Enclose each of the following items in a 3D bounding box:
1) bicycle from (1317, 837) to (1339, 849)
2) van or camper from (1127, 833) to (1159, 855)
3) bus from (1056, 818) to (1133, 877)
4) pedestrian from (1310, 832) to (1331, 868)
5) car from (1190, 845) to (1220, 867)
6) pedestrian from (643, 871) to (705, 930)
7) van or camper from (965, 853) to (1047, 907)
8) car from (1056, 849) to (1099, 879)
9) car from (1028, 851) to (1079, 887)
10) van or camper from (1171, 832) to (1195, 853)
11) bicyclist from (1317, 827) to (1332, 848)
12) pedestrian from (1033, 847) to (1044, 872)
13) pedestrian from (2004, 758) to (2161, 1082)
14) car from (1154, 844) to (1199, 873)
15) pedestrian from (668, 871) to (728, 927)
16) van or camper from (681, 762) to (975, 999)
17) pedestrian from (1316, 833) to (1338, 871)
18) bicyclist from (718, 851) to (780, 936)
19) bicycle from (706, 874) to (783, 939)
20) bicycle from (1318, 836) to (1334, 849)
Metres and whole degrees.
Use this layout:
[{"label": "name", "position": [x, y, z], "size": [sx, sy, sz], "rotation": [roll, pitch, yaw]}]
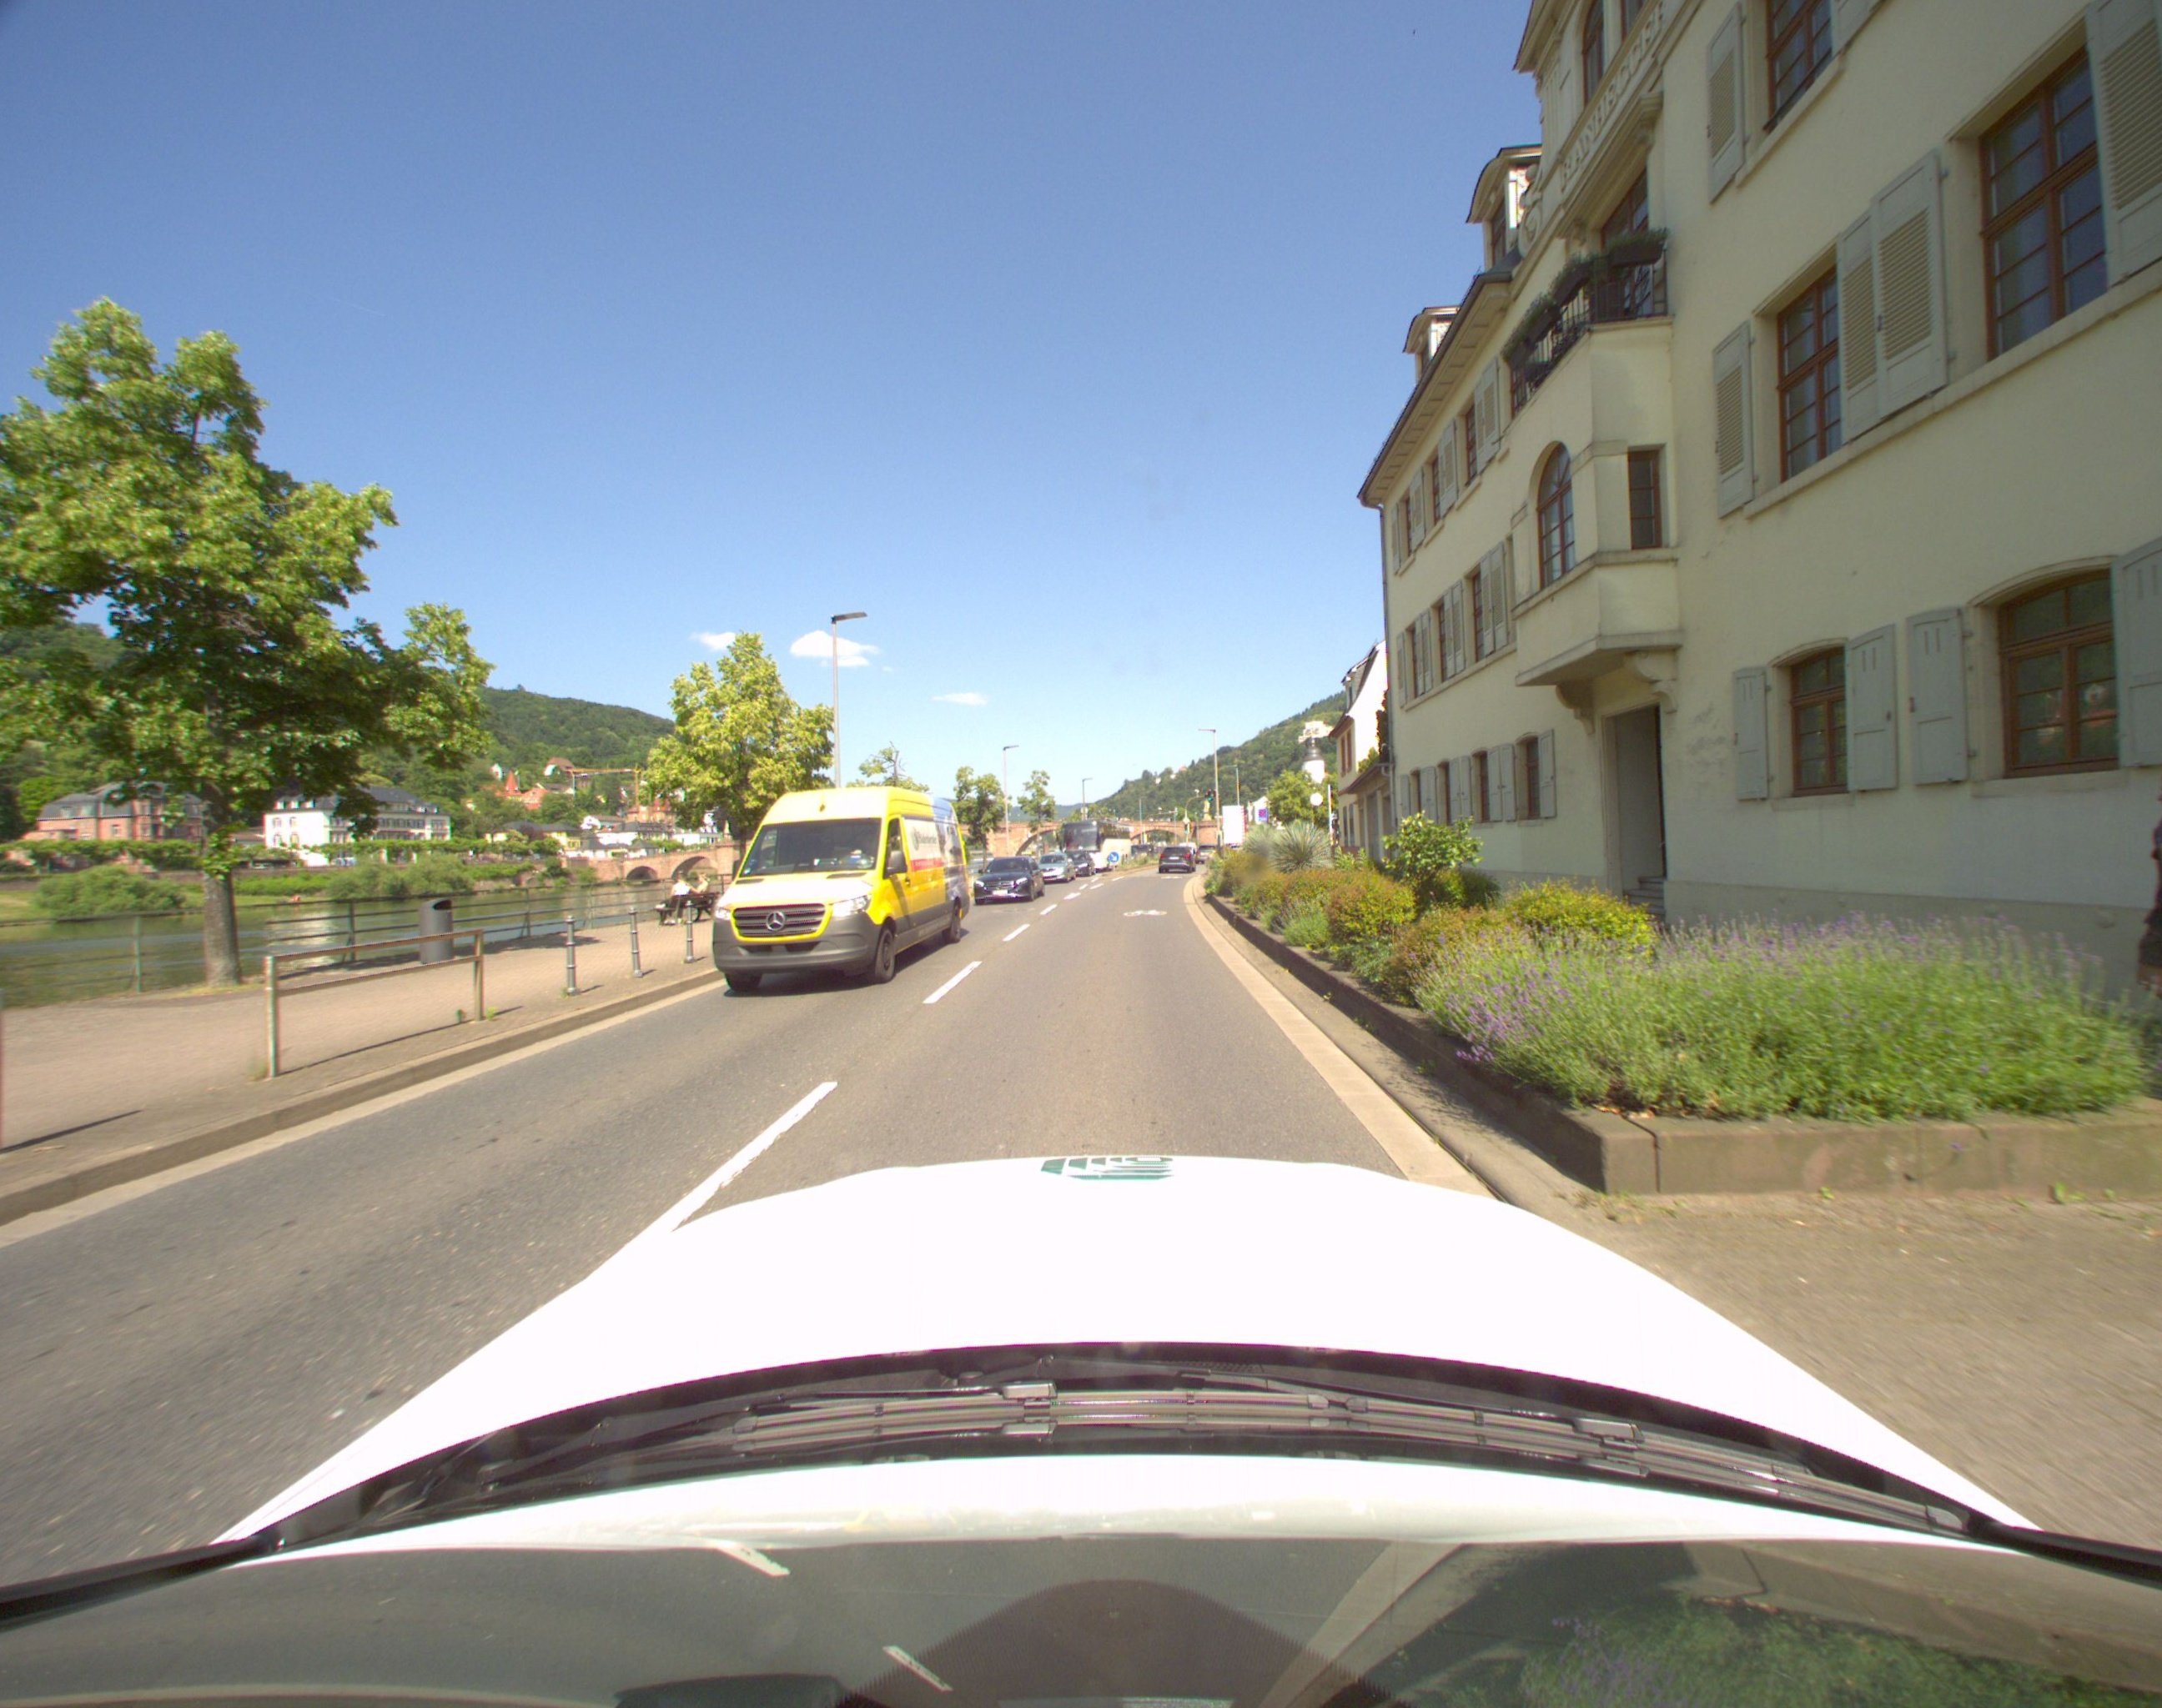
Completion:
[{"label": "bicycle", "position": [25.171, -1.155, 83.010], "size": [1.980, 1.198, 0.525], "rotation": [-1, 1, 27]}, {"label": "van or camper", "position": [5.788, -0.926, 75.389], "size": [1.979, 1.873, 5.200], "rotation": [-4, 0, 15]}, {"label": "bus", "position": [1.253, -0.435, 57.035], "size": [2.613, 3.564, 13.028], "rotation": [-4, 0, 12]}, {"label": "pedestrian", "position": [10.992, -0.191, 37.425], "size": [0.757, 1.595, 0.697], "rotation": [-3, 0, 8]}, {"label": "car", "position": [9.640, 0.127, 62.899], "size": [1.914, 1.461, 4.848], "rotation": [-3, 0, 12]}, {"label": "pedestrian", "position": [-9.611, 1.089, 19.251], "size": [0.931, 1.281, 0.852], "rotation": [-3, 0, 9]}, {"label": "van or camper", "position": [-2.395, 0.792, 27.240], "size": [1.986, 1.454, 4.686], "rotation": [-5, 0, 3]}, {"label": "car", "position": [-0.138, 0.541, 46.229], "size": [1.807, 1.429, 4.202], "rotation": [-5, 0, 7]}, {"label": "car", "position": [-1.271, 0.685, 39.867], "size": [1.804, 1.428, 4.318], "rotation": [-5, 1, 6]}, {"label": "van or camper", "position": [13.164, -1.429, 104.567], "size": [1.978, 2.449, 5.518], "rotation": [-5, -1, 16]}, {"label": "bicyclist", "position": [19.028, -1.263, 63.610], "size": [0.763, 1.583, 1.090], "rotation": [-3, 0, 2]}, {"label": "pedestrian", "position": [-3.189, 0.418, 61.227], "size": [0.617, 1.780, 0.664], "rotation": [-3, 0, 8]}, {"label": "pedestrian", "position": [6.097, 0.328, 4.616], "size": [0.758, 1.713, 0.696], "rotation": [-6, 0, 3]}, {"label": "car", "position": [5.438, 0.220, 45.759], "size": [1.913, 1.553, 4.850], "rotation": [-1, 1, 13]}, {"label": "pedestrian", "position": [-9.467, 1.100, 20.155], "size": [0.931, 1.281, 0.852], "rotation": [-3, 0, 9]}, {"label": "van or camper", "position": [-3.306, 0.280, 12.691], "size": [2.080, 2.557, 7.094], "rotation": [-3, 0, 1]}, {"label": "pedestrian", "position": [11.310, -0.095, 37.521], "size": [0.733, 1.698, 0.936], "rotation": [-4, 0, 8]}, {"label": "bicyclist", "position": [-7.003, 0.808, 17.223], "size": [0.737, 1.667, 1.090], "rotation": [-3, 1, 2]}, {"label": "bicycle", "position": [-7.003, 1.053, 17.051], "size": [0.708, 1.168, 1.897], "rotation": [-3, 1, 2]}, {"label": "bicycle", "position": [19.040, -0.902, 63.395], "size": [0.747, 0.964, 1.783], "rotation": [-3, 0, 2]}]
